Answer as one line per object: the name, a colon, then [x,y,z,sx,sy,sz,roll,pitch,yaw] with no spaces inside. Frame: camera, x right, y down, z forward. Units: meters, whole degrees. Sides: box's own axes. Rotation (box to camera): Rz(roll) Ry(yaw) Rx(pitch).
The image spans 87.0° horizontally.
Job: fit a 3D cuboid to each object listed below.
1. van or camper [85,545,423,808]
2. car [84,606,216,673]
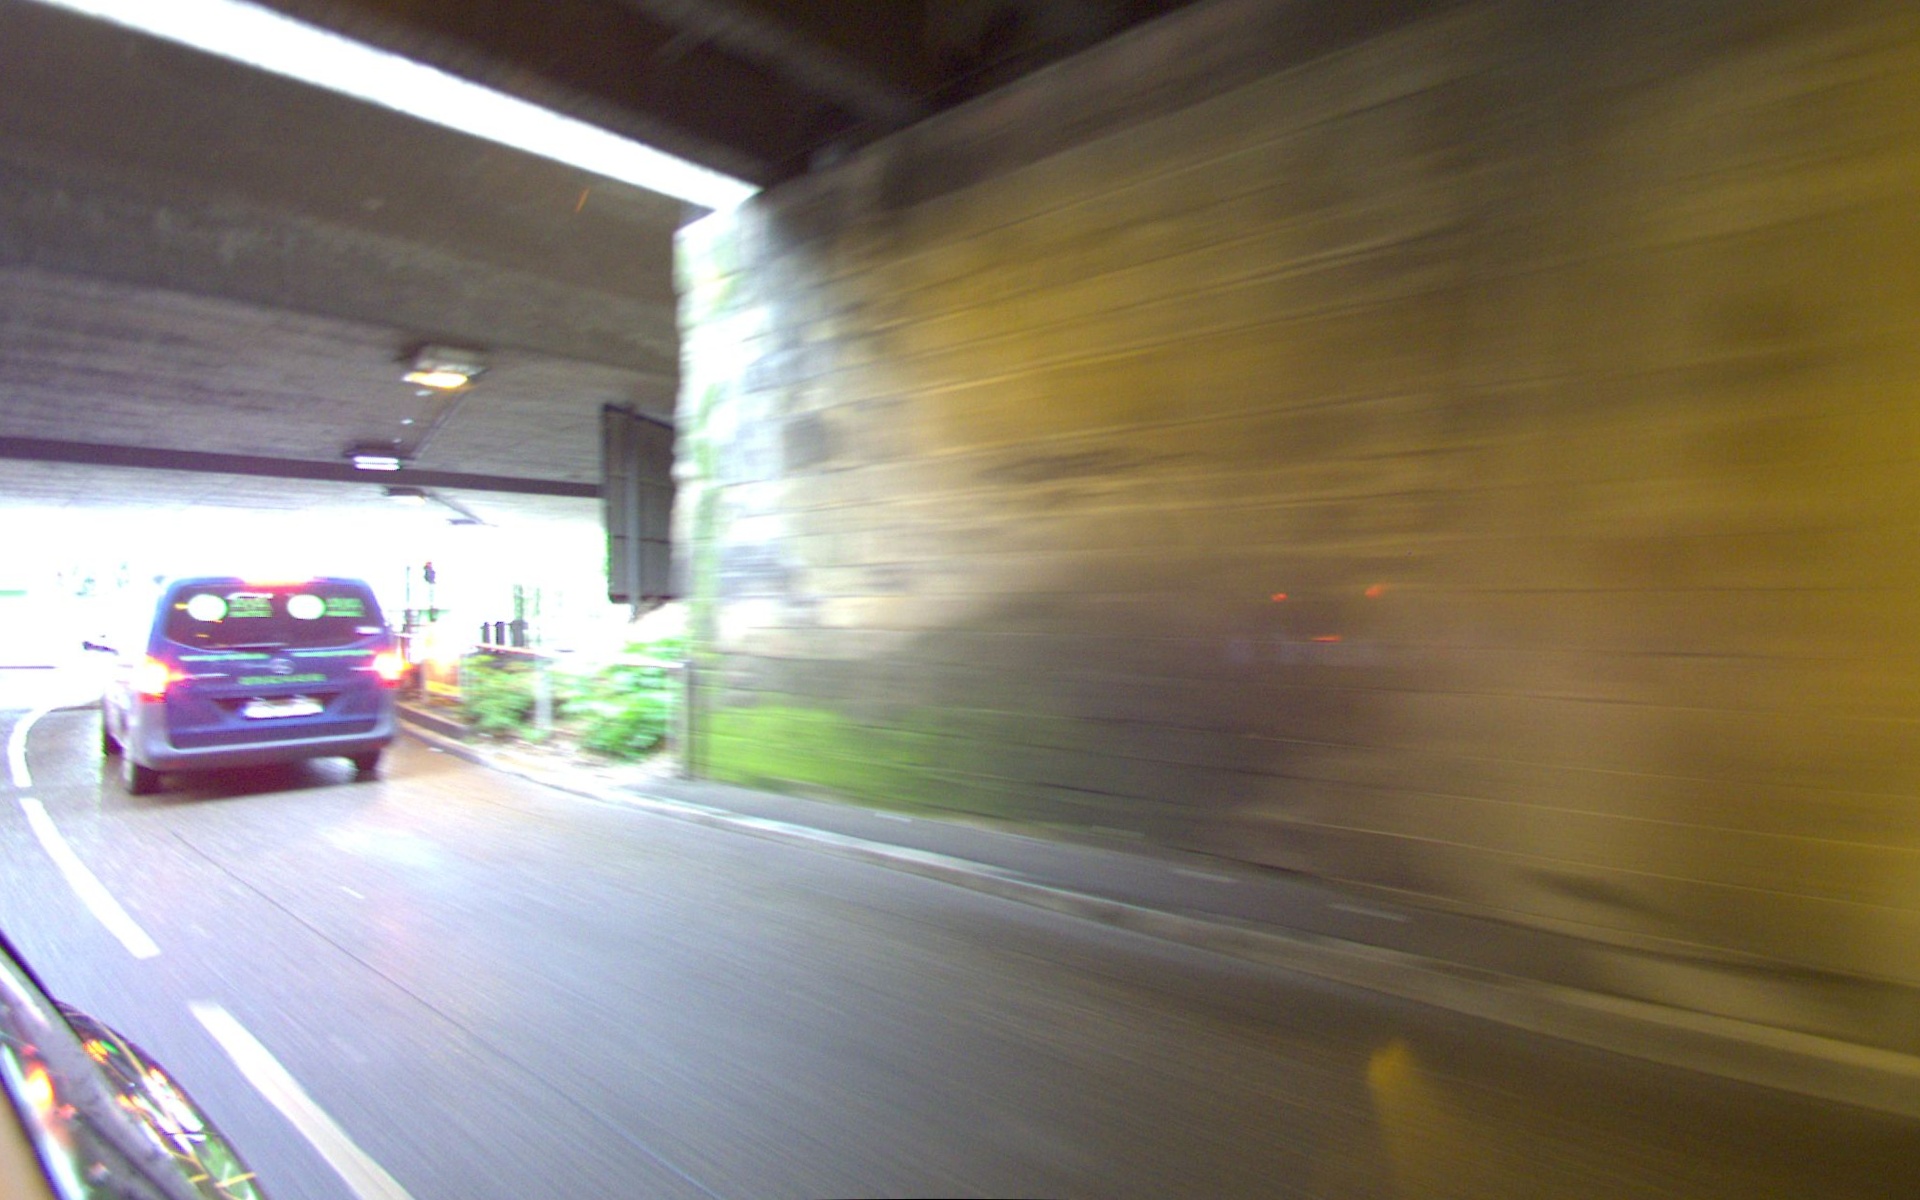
van or camper: [-7.056,0.552,9.830,1.970,1.882,5.144,0,0,-43]
car: [-20.504,1.000,25.794,1.679,1.569,4.013,0,-2,-25]
